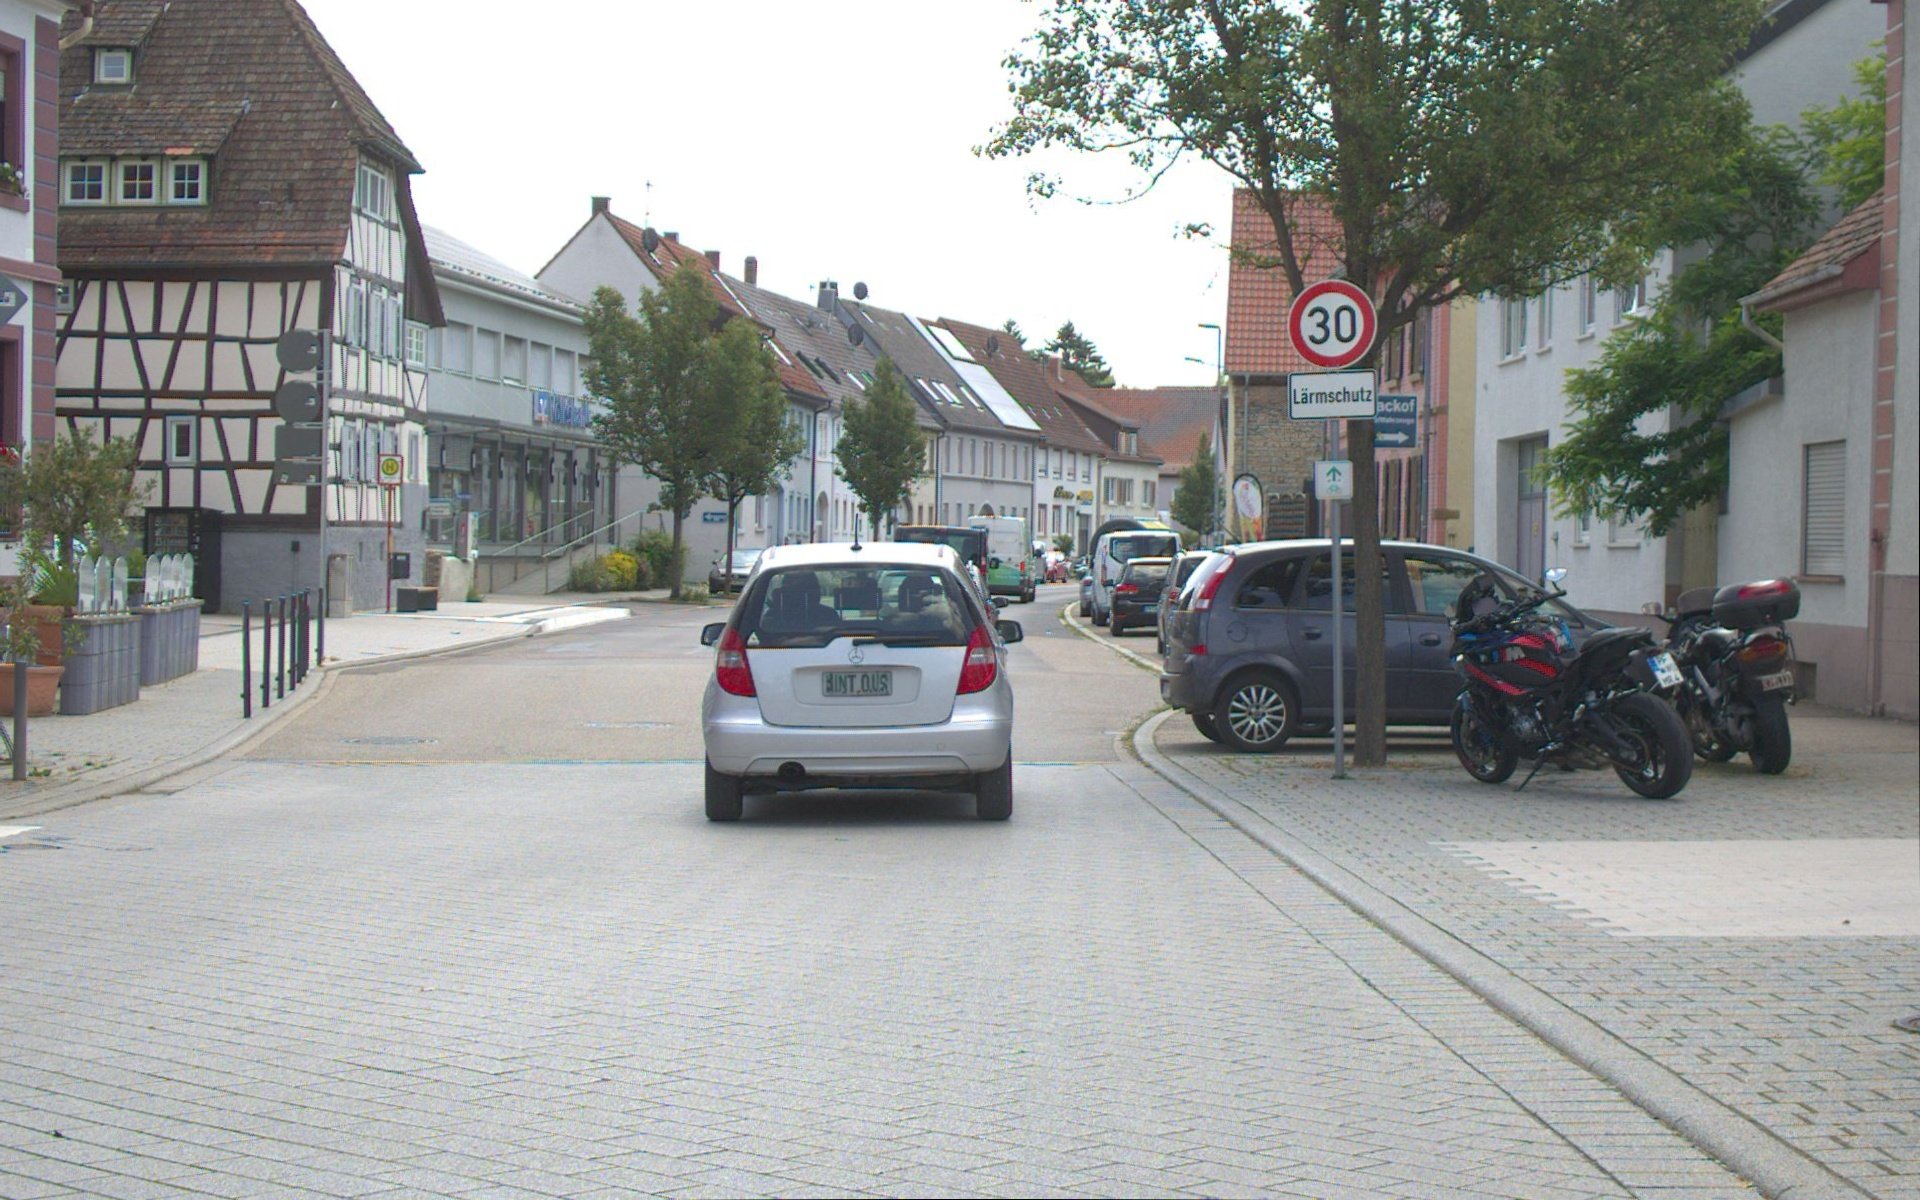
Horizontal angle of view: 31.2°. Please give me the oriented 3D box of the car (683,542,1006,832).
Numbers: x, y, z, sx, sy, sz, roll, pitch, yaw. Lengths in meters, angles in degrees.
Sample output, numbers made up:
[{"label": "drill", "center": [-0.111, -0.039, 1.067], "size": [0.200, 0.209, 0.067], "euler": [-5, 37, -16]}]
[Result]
[{"label": "car", "center": [-0.674, 0.461, 20.851], "size": [1.769, 1.589, 4.000], "euler": [0, 1, -1]}]

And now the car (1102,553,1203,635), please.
[{"label": "car", "center": [3.682, -0.139, 66.305], "size": [1.774, 1.490, 4.162], "euler": [1, 1, 1]}]

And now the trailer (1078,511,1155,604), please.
[{"label": "trailer", "center": [4.036, -1.112, 89.158], "size": [1.845, 2.346, 3.589], "euler": [1, 1, 0]}]

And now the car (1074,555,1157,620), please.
[{"label": "car", "center": [3.774, -0.325, 83.978], "size": [1.875, 1.476, 4.674], "euler": [2, 1, 1]}]

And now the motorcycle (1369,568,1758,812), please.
[{"label": "motorcycle", "center": [3.676, 0.517, 21.099], "size": [2.224, 1.390, 0.870], "euler": [2, 1, 44]}]

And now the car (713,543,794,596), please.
[{"label": "car", "center": [-6.058, -0.917, 101.259], "size": [1.804, 1.455, 4.157], "euler": [2, 1, 4]}]

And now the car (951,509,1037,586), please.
[{"label": "car", "center": [1.042, -1.554, 102.452], "size": [2.236, 2.215, 3.999], "euler": [0, 0, 5]}]

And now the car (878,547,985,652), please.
[{"label": "car", "center": [-0.523, -0.022, 67.312], "size": [1.769, 1.881, 4.447], "euler": [4, 0, 2]}]

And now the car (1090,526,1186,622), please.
[{"label": "car", "center": [3.825, -0.574, 74.463], "size": [1.892, 1.975, 4.931], "euler": [-1, 1, 1]}]

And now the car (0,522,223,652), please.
[{"label": "car", "center": [-11.142, -0.192, 44.960], "size": [1.758, 1.487, 4.275], "euler": [5, 1, 3]}]

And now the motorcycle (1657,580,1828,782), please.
[{"label": "motorcycle", "center": [5.310, 0.524, 23.456], "size": [0.959, 1.294, 2.225], "euler": [-1, 1, 9]}]

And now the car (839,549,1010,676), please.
[{"label": "car", "center": [-0.397, 0.112, 41.742], "size": [1.945, 1.402, 4.000], "euler": [1, 1, 0]}]

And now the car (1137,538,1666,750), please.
[{"label": "car", "center": [3.397, 0.318, 26.961], "size": [3.848, 1.572, 1.851], "euler": [-1, 1, -2]}]

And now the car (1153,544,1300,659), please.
[{"label": "car", "center": [4.075, -0.002, 53.133], "size": [1.993, 1.675, 4.323], "euler": [1, 1, 1]}]
